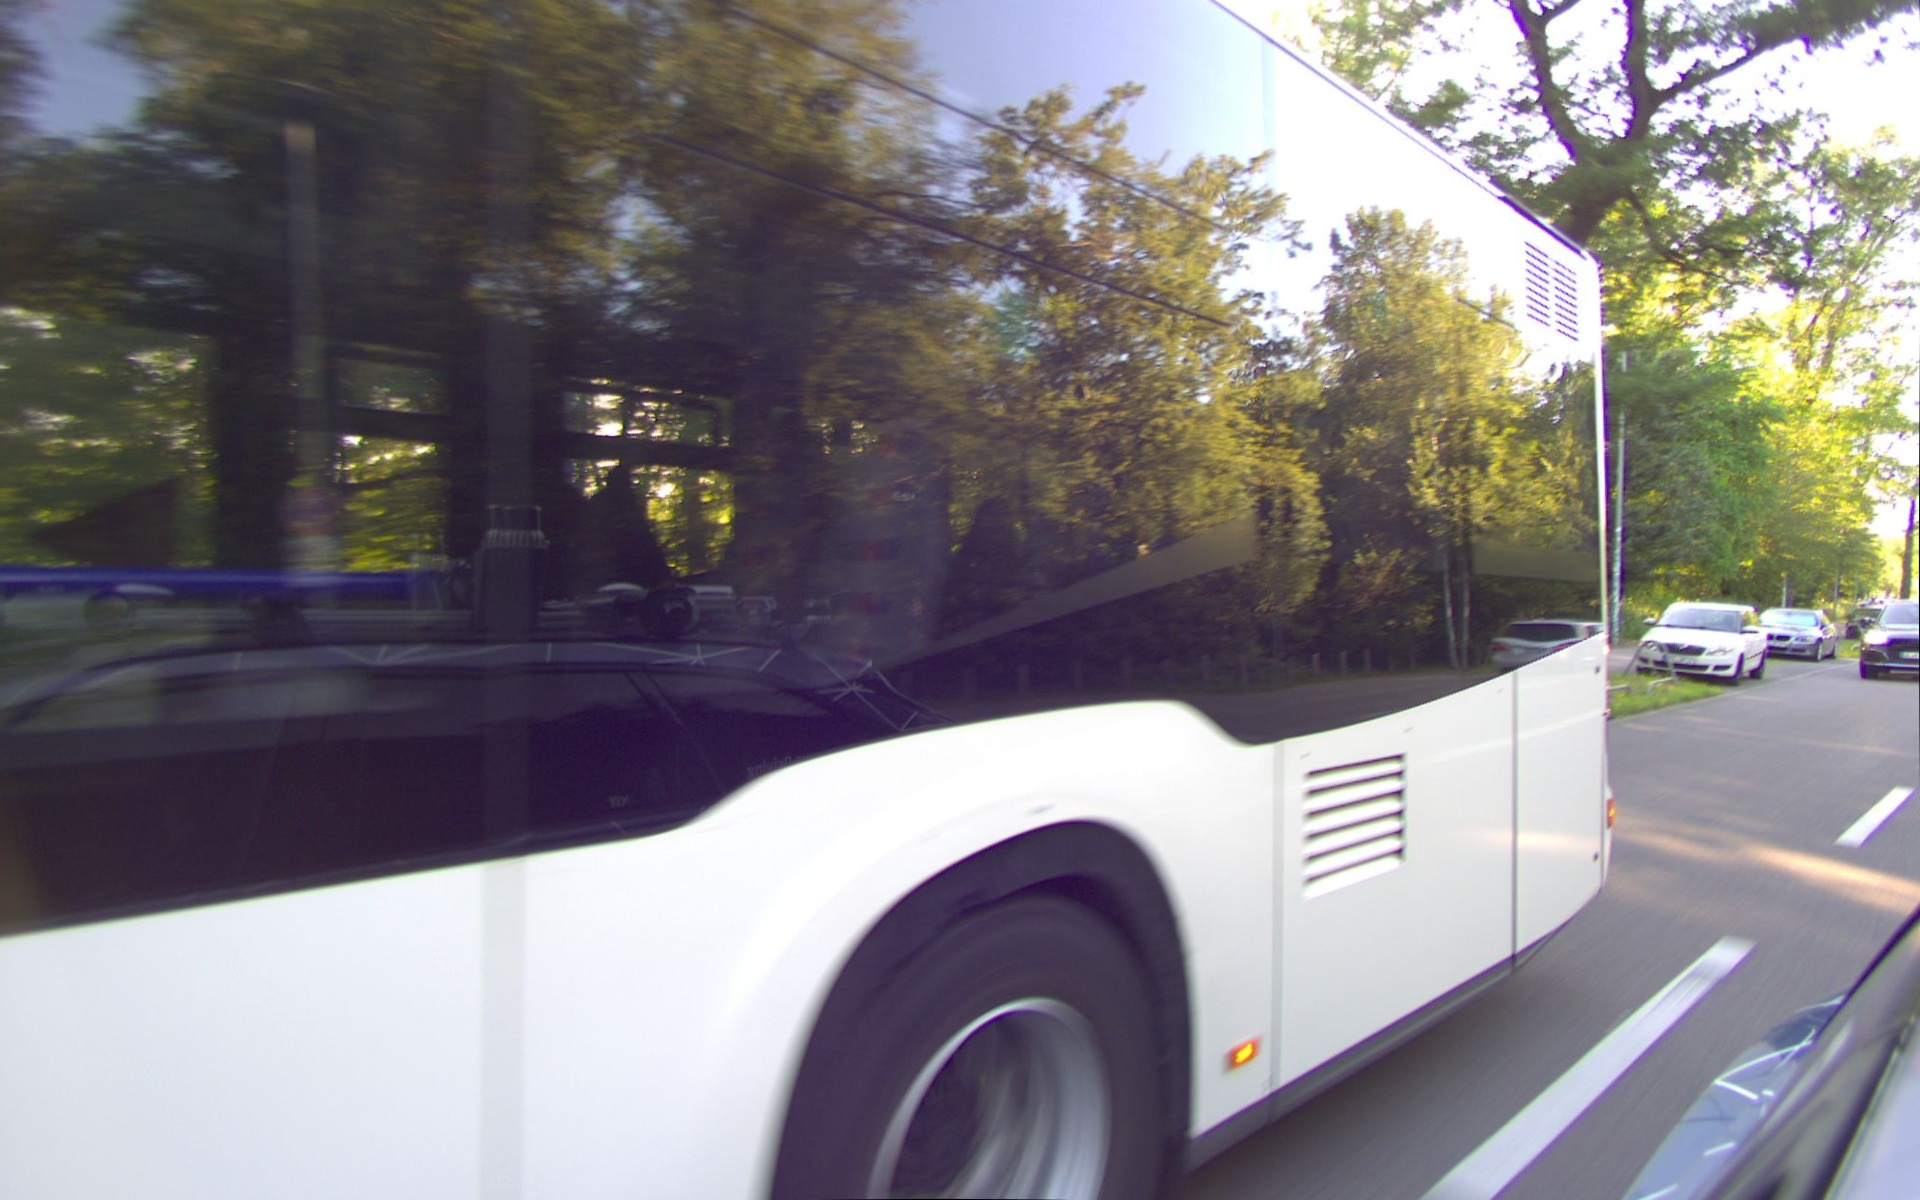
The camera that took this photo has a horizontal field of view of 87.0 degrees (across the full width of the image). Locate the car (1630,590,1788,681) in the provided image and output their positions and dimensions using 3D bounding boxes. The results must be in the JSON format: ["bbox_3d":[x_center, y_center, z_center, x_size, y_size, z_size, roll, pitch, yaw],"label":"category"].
[{"bbox_3d":[14.936,0.627,20.097,4.099,1.529,1.731,0,4,-43],"label":"car"}]

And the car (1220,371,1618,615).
[{"bbox_3d":[4.112,-0.712,8.713,1.992,1.577,4.036,-1,0,42],"label":"car"}]

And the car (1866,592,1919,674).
[{"bbox_3d":[20.586,0.649,21.346,3.932,1.638,1.858,0,0,-43],"label":"car"}]

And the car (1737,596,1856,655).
[{"bbox_3d":[23.470,0.653,28.339,4.444,1.408,1.857,0,4,-42],"label":"car"}]

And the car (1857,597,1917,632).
[{"bbox_3d":[40.009,0.593,43.642,3.882,1.409,1.736,0,2,-45],"label":"car"}]

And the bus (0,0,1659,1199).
[{"bbox_3d":[-2.883,-0.125,0.763,12.063,3.263,2.709,0,0,-41],"label":"bus"}]
